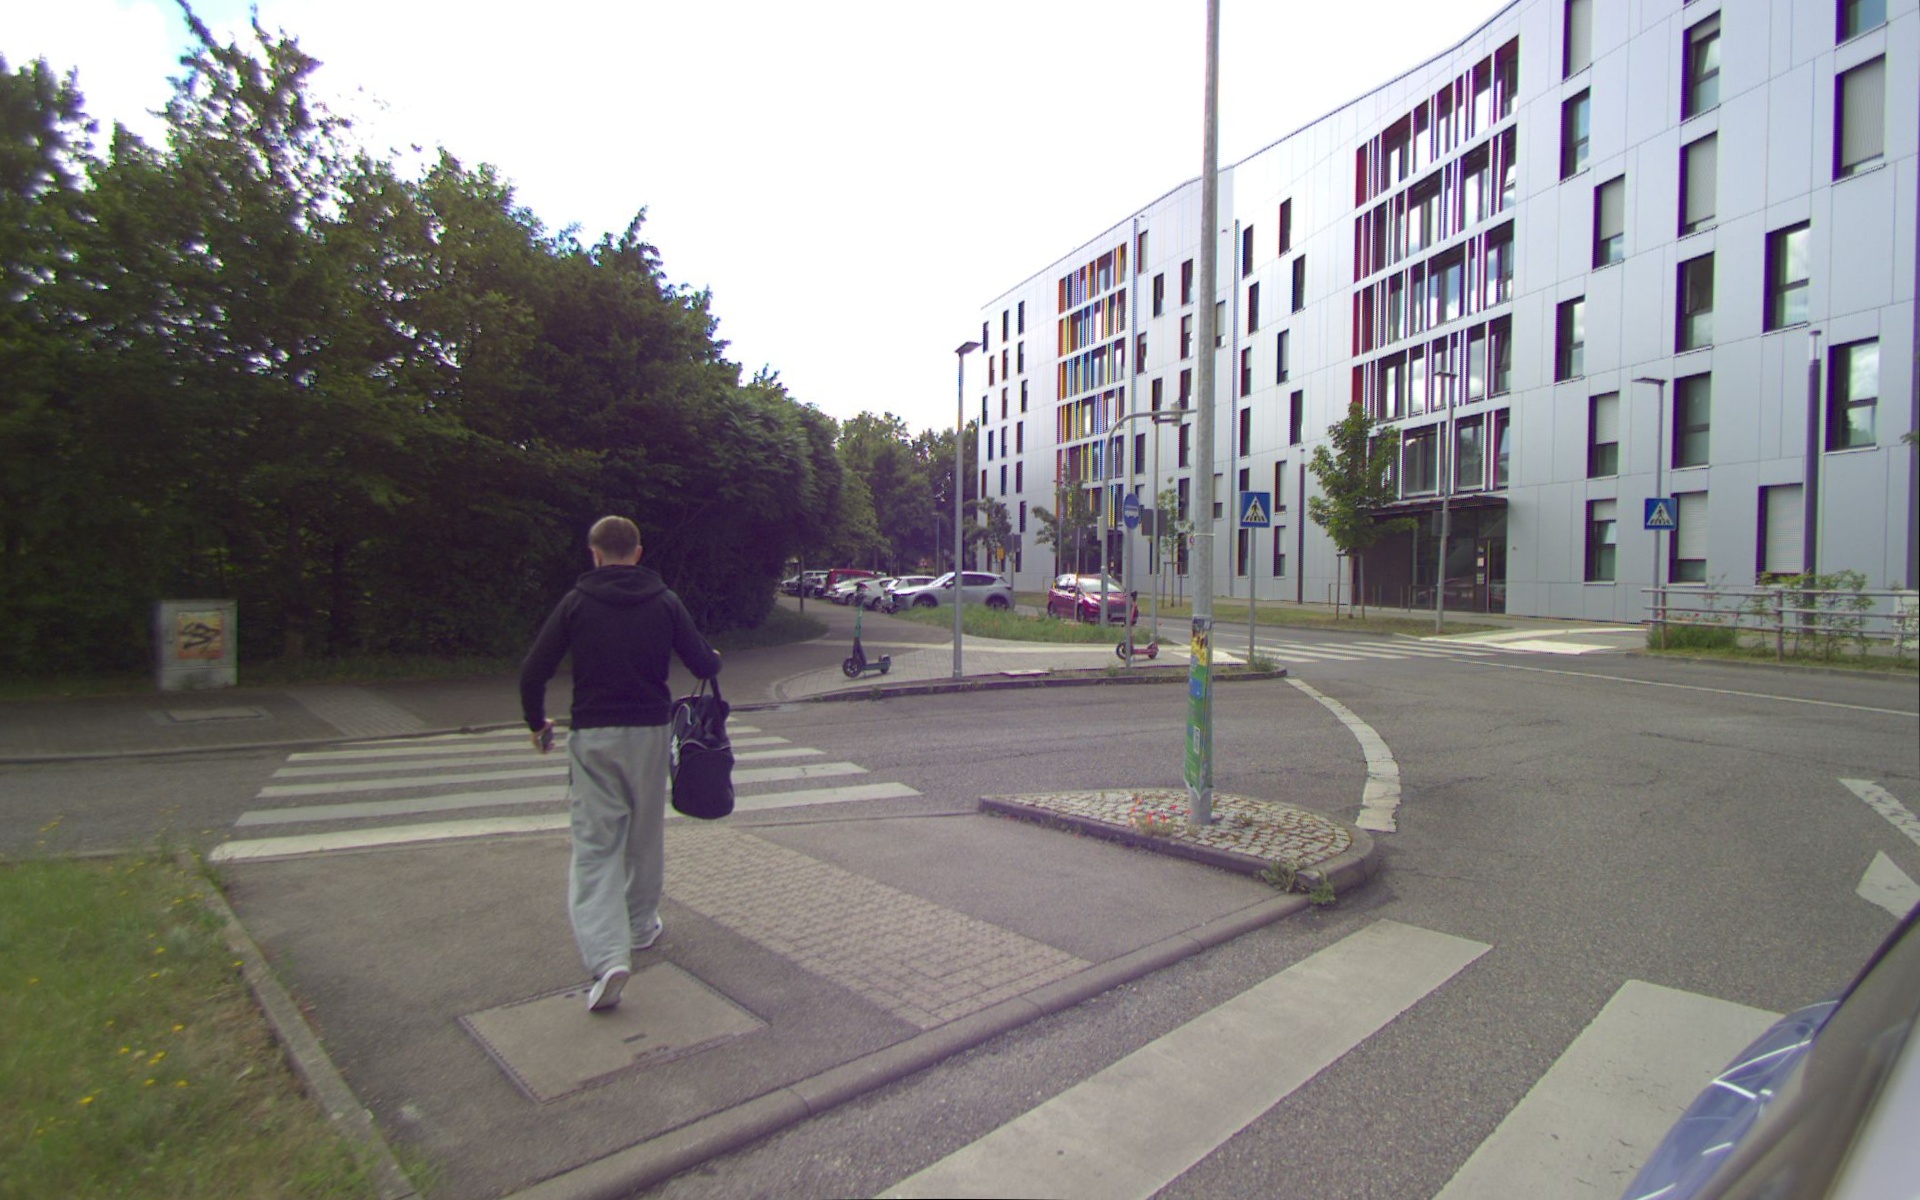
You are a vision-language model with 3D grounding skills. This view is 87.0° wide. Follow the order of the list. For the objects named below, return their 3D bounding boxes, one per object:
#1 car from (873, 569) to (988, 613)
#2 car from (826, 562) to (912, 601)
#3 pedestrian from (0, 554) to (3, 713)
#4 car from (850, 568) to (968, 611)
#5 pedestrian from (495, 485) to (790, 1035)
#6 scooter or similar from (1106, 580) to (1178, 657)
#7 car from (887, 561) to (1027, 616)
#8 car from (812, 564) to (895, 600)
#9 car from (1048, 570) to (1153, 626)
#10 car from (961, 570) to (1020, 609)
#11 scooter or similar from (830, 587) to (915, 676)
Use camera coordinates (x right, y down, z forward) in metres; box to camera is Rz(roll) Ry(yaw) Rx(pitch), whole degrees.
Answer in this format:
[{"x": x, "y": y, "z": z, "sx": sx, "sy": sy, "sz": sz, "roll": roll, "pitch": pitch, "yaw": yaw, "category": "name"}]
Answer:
[{"x": -1.157, "y": -0.346, "z": 38.810, "sx": 4.080, "sy": 1.606, "sz": 1.800, "roll": 1, "pitch": 1, "yaw": -16, "category": "car"}, {"x": -4.817, "y": -0.976, "z": 53.419, "sx": 4.204, "sy": 1.916, "sz": 1.842, "roll": 1, "pitch": 1, "yaw": -16, "category": "car"}, {"x": -9.959, "y": 0.349, "z": 9.896, "sx": 0.756, "sy": 1.613, "sz": 0.687, "roll": -1, "pitch": 1, "yaw": -34, "category": "pedestrian"}, {"x": -2.076, "y": -0.443, "z": 41.032, "sx": 4.397, "sy": 1.582, "sz": 1.916, "roll": 2, "pitch": 1, "yaw": -16, "category": "car"}, {"x": -1.223, "y": 0.498, "z": 3.904, "sx": 0.937, "sy": 1.768, "sz": 1.064, "roll": -1, "pitch": 1, "yaw": -20, "category": "pedestrian"}, {"x": 3.314, "y": 0.314, "z": 18.371, "sx": 0.570, "sy": 1.329, "sz": 1.502, "roll": 1, "pitch": 2, "yaw": 44, "category": "scooter or similar"}, {"x": -0.131, "y": -0.414, "z": 36.265, "sx": 4.565, "sy": 1.774, "sz": 2.074, "roll": 2, "pitch": 0, "yaw": -18, "category": "car"}, {"x": -6.162, "y": -1.045, "z": 58.659, "sx": 4.469, "sy": 1.923, "sz": 1.888, "roll": 2, "pitch": 1, "yaw": -16, "category": "car"}, {"x": 4.482, "y": -0.128, "z": 32.918, "sx": 1.894, "sy": 1.651, "sz": 4.252, "roll": -2, "pitch": 2, "yaw": -14, "category": "car"}, {"x": 1.335, "y": -0.513, "z": 46.208, "sx": 1.781, "sy": 1.638, "sz": 4.009, "roll": -1, "pitch": 2, "yaw": -12, "category": "car"}, {"x": -1.371, "y": 0.474, "z": 16.126, "sx": 0.616, "sy": 1.290, "sz": 1.481, "roll": 0, "pitch": 3, "yaw": 29, "category": "scooter or similar"}]
